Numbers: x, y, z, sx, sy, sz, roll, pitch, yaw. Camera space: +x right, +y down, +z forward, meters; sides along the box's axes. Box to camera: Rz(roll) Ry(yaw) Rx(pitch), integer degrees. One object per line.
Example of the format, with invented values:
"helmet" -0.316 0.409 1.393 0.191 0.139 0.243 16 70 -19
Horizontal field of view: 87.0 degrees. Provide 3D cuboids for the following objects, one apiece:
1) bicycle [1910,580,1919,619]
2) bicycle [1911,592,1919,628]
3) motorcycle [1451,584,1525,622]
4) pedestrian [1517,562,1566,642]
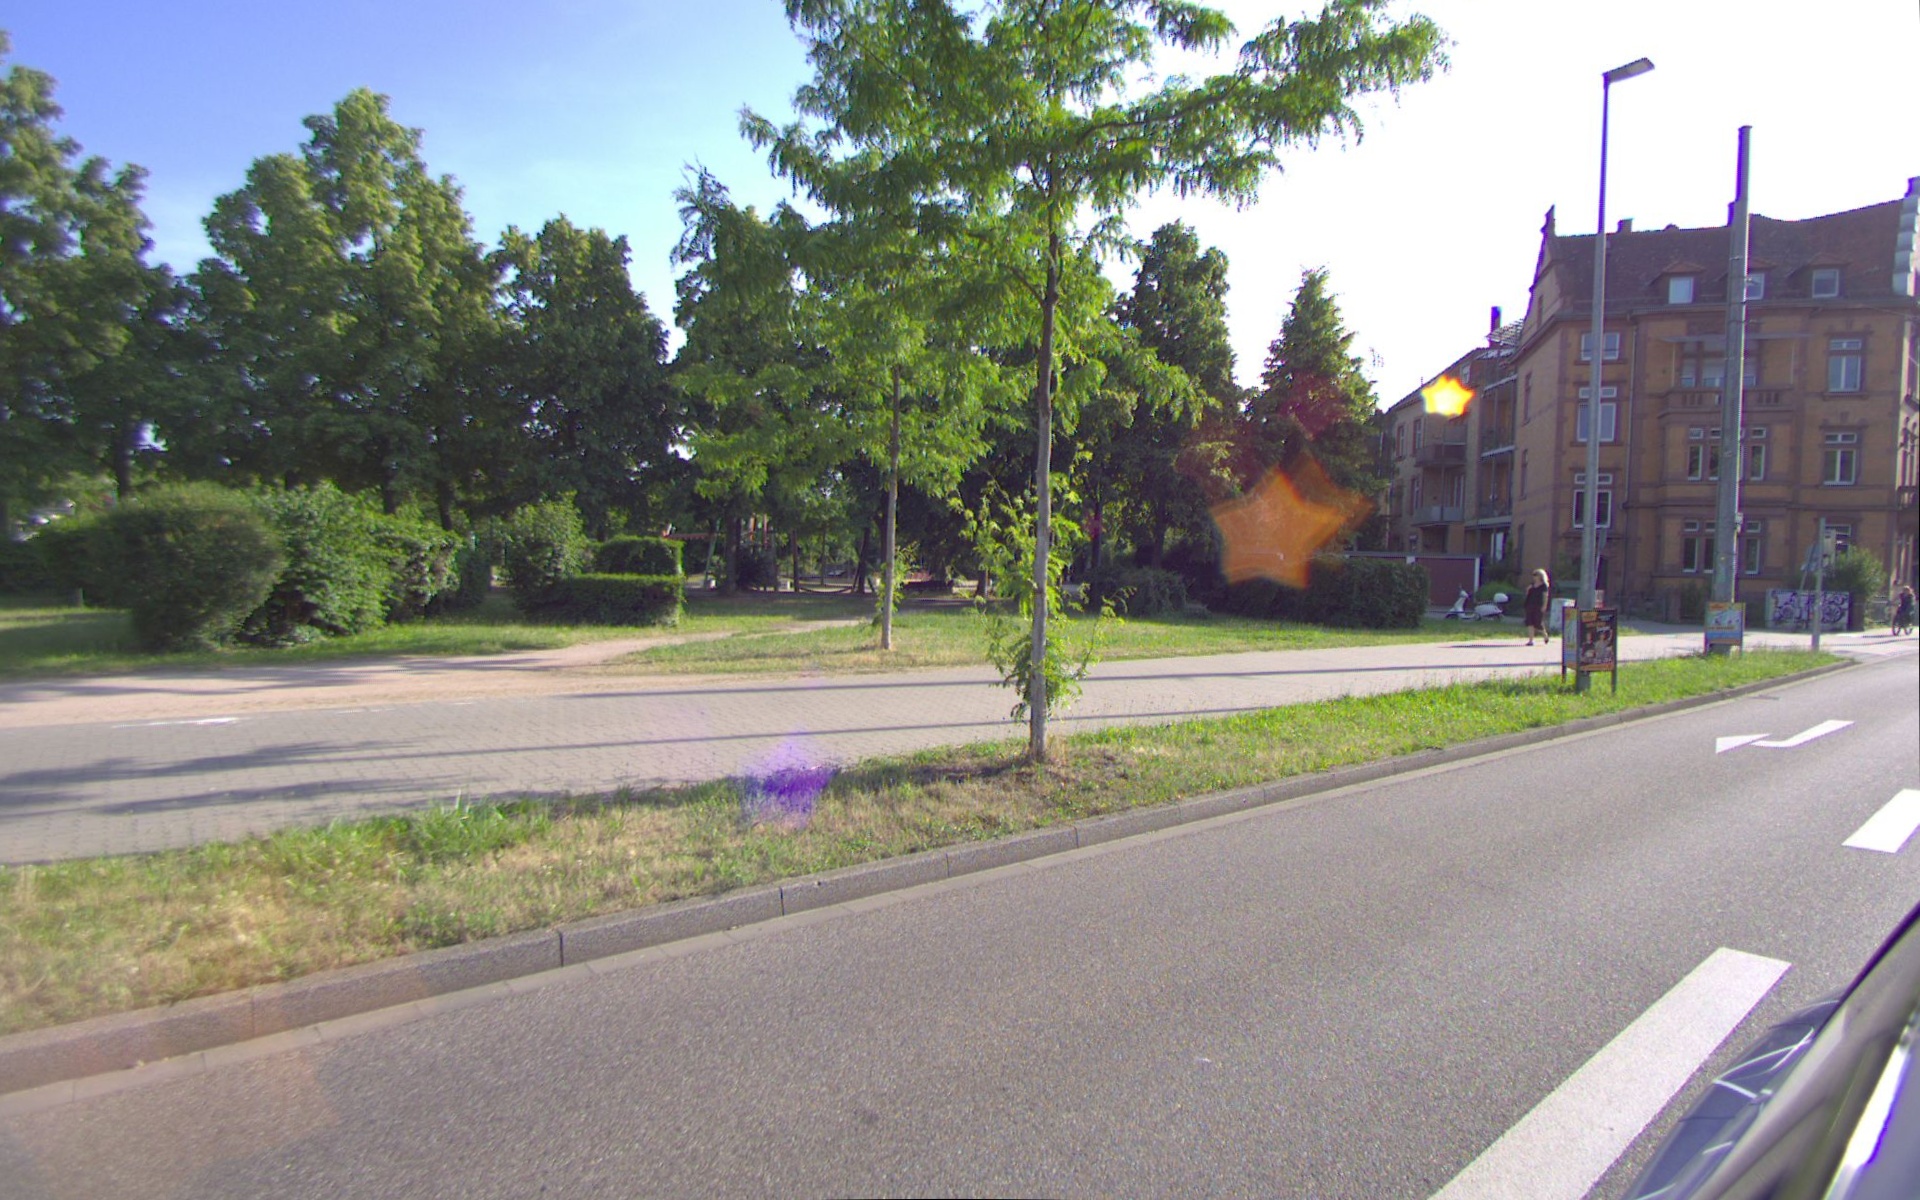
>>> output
"bicycle" 32.946 -0.004 34.631 0.677 1.314 0.574 1 1 -43
"bicycle" 32.971 0.350 34.665 1.316 1.205 0.484 0 1 -43
"motorcycle" 17.262 0.074 33.114 1.997 1.174 0.696 2 1 45
"pedestrian" 13.052 0.032 22.723 0.538 1.711 0.617 1 6 -36
